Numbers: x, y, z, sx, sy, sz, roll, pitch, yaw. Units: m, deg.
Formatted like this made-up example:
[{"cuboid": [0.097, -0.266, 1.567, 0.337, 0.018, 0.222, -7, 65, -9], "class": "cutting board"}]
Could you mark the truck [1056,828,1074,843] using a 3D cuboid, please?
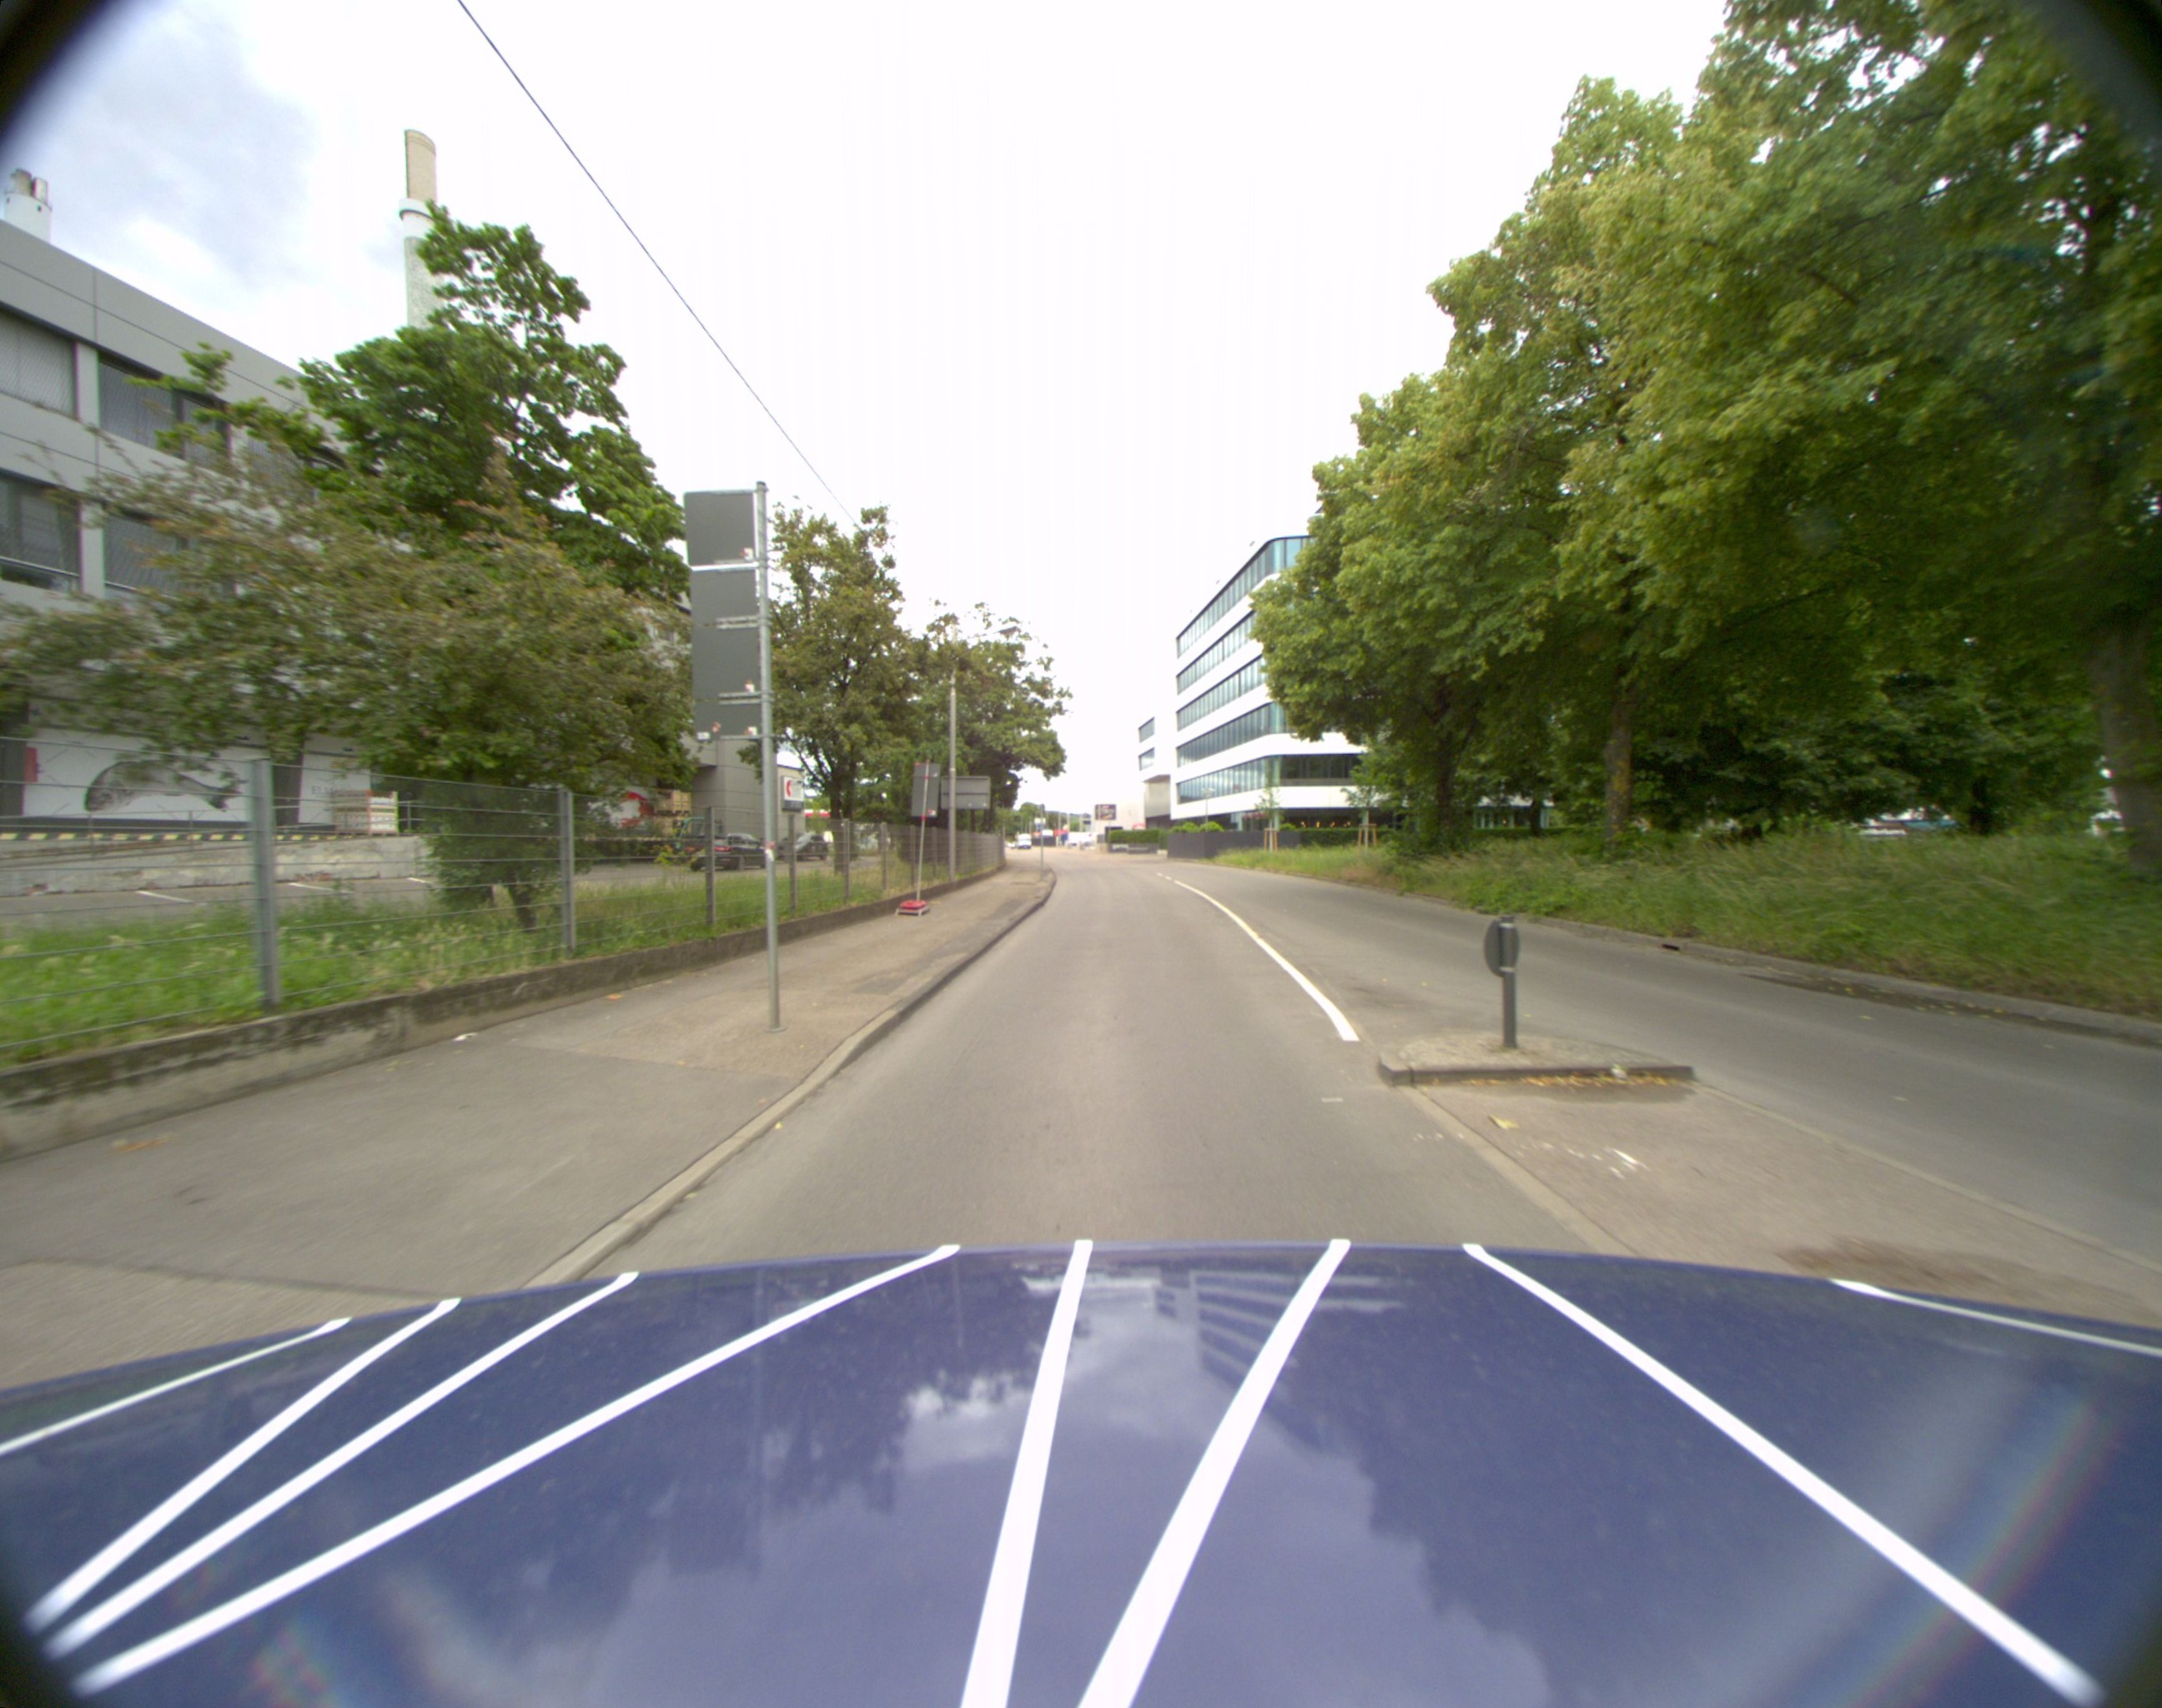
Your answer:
[{"cuboid": [-4.693, -5.373, 221.047, 4.881, 4.109, 3.046, 1, 1, -7], "class": "truck"}]

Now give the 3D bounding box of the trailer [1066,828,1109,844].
[{"cuboid": [1.783, -5.194, 220.506, 12.027, 4.109, 3.050, 2, 1, 11], "class": "trailer"}]

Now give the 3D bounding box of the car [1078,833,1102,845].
[{"cuboid": [2.280, -3.722, 187.756, 5.425, 2.715, 2.243, -1, 1, 12], "class": "car"}]

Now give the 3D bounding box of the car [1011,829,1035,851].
[{"cuboid": [-10.247, -2.446, 133.677, 3.341, 3.587, 8.660, 0, 1, -11], "class": "car"}]

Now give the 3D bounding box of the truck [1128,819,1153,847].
[{"cuboid": [9.069, -3.137, 115.064, 2.746, 4.008, 7.099, 0, 1, 13], "class": "truck"}]

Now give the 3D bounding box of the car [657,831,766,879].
[{"cuboid": [-12.896, -0.022, 26.379, 2.004, 1.466, 4.678, -1, 3, -44], "class": "car"}]

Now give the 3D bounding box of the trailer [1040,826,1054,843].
[{"cuboid": [-8.833, -4.990, 197.161, 3.369, 4.136, 13.840, 2, 1, -4], "class": "trailer"}]

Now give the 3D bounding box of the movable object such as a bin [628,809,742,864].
[{"cuboid": [-17.274, -0.769, 33.294, 3.995, 2.292, 1.952, 1, 2, 5], "class": "movable object such as a bin"}]

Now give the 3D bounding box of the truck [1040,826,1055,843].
[{"cuboid": [-8.397, -4.847, 190.181, 3.369, 4.136, 5.624, 1, 1, -4], "class": "truck"}]

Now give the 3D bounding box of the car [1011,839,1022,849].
[{"cuboid": [-12.660, -1.990, 149.372, 1.714, 2.002, 3.885, 0, 1, -12], "class": "car"}]

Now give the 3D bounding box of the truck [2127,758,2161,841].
[{"cuboid": [34.234, -1.601, 18.722, 2.980, 2.507, 10.248, 0, 1, 2], "class": "truck"}]

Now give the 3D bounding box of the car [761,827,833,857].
[{"cuboid": [-16.105, -0.663, 43.330, 1.997, 1.558, 4.443, 3, 1, 6], "class": "car"}]
